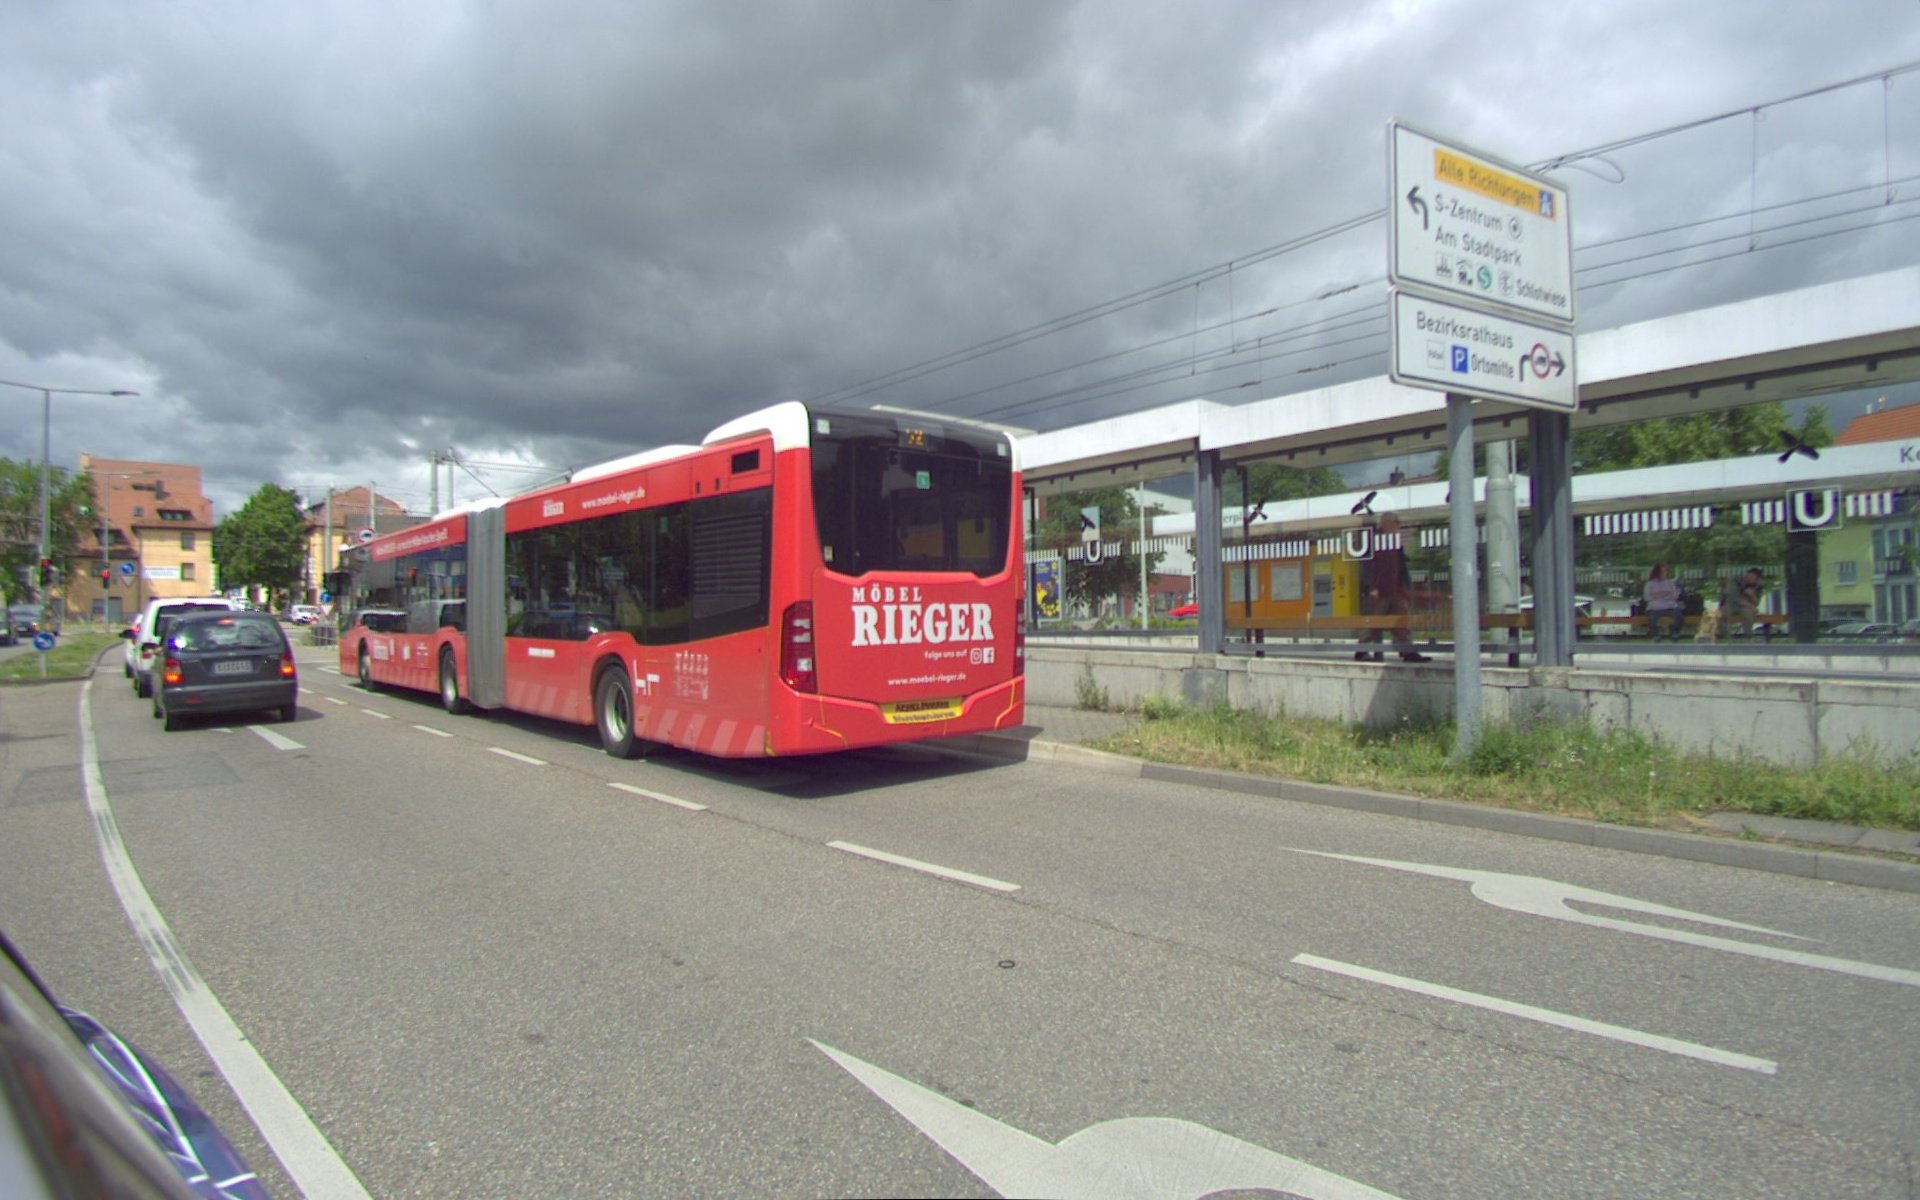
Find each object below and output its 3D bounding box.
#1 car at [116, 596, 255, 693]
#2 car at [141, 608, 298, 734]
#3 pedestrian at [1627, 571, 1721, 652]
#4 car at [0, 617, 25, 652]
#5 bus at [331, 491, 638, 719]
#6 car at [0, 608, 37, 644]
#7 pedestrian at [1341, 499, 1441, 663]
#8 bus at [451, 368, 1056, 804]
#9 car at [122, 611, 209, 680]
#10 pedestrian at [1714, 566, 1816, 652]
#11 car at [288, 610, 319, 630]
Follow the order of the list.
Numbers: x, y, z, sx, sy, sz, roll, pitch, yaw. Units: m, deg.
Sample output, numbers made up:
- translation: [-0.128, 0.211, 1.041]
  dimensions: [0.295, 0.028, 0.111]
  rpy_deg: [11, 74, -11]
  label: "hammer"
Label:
- translation: [-15.518, 0.890, 20.178]
  dimensions: [1.741, 1.675, 4.510]
  rpy_deg: [-2, -1, -43]
  label: "car"
- translation: [-10.803, 0.927, 14.669]
  dimensions: [1.511, 1.563, 3.738]
  rpy_deg: [-1, 0, -41]
  label: "car"
- translation: [11.956, 0.208, 16.956]
  dimensions: [0.747, 1.302, 1.114]
  rpy_deg: [1, -2, -40]
  label: "pedestrian"
- translation: [-41.664, 1.497, 43.312]
  dimensions: [1.852, 1.440, 4.010]
  rpy_deg: [0, -3, -35]
  label: "car"
- translation: [-9.139, 0.290, 18.500]
  dimensions: [2.692, 3.133, 9.719]
  rpy_deg: [1, -3, -40]
  label: "bus"
- translation: [-46.972, 1.315, 49.984]
  dimensions: [1.970, 1.662, 4.424]
  rpy_deg: [1, -3, -43]
  label: "car"
- translation: [4.593, -0.178, 10.803]
  dimensions: [0.679, 1.669, 0.701]
  rpy_deg: [1, -3, -42]
  label: "pedestrian"
- translation: [-3.085, 0.013, 11.474]
  dimensions: [2.692, 3.093, 8.976]
  rpy_deg: [1, -2, -41]
  label: "bus"
- translation: [-20.845, 1.144, 26.543]
  dimensions: [1.677, 1.661, 4.086]
  rpy_deg: [0, -1, -39]
  label: "car"
- translation: [12.762, 0.152, 16.050]
  dimensions: [0.747, 1.302, 1.114]
  rpy_deg: [1, -2, -40]
  label: "pedestrian"
- translation: [-65.937, 1.992, 101.579]
  dimensions: [2.048, 1.912, 4.670]
  rpy_deg: [0, -1, -40]
  label: "car"
